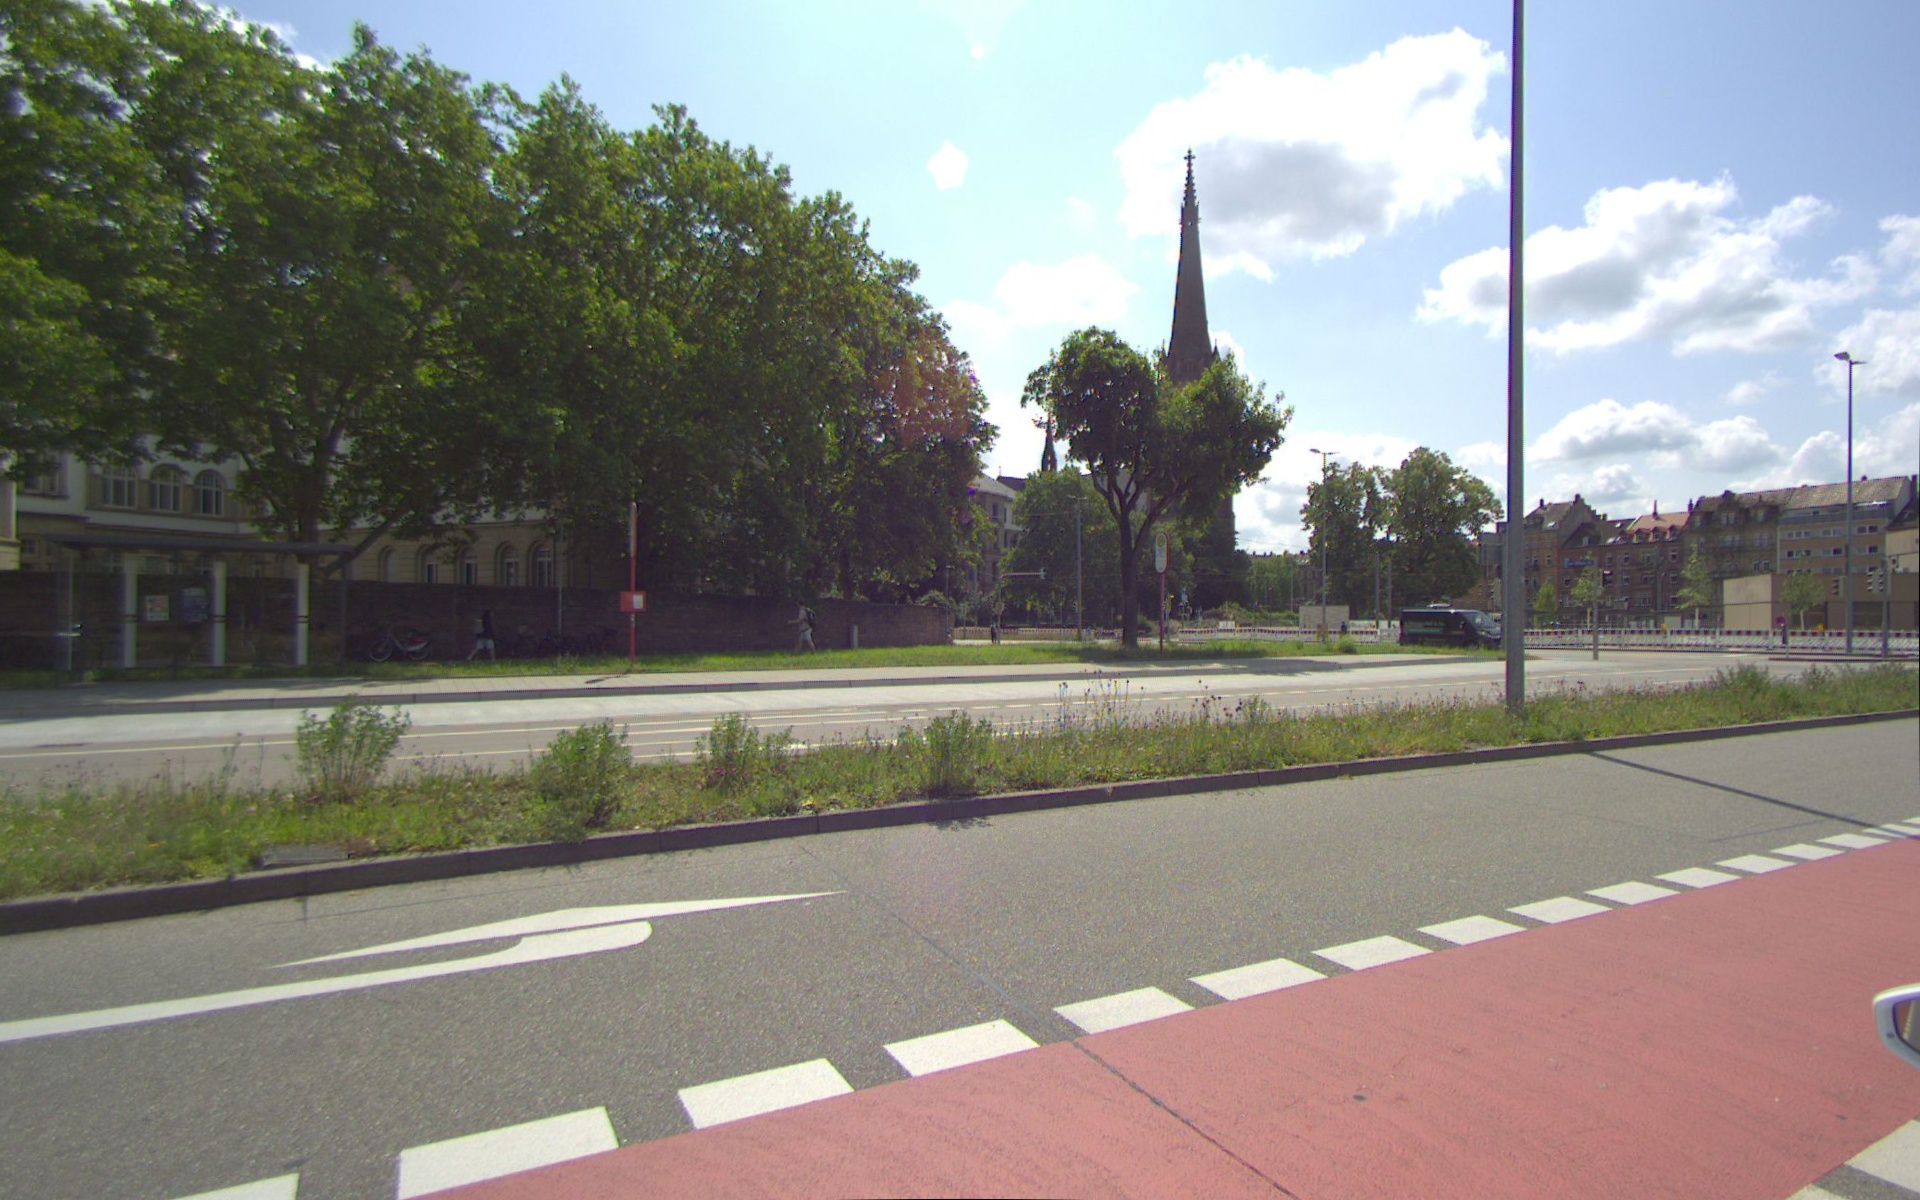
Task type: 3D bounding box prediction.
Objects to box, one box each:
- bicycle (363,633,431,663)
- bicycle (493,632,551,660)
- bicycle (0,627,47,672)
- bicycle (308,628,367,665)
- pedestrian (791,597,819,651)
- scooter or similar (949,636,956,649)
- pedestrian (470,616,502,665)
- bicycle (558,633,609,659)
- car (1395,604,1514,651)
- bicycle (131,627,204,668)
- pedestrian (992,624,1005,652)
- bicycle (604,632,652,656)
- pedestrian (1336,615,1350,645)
[{"bbox_3d":[-16.243,1.381,29.012,0.324,0.828,1.743,0,-1,36],"label":"bicycle"},{"bbox_3d":[-14.023,1.464,32.198,0.378,0.828,1.743,0,-1,36],"label":"bicycle"},{"bbox_3d":[-21.260,1.102,22.324,0.260,0.977,1.391,0,-1,36],"label":"bicycle"},{"bbox_3d":[-17.162,1.267,27.715,0.260,0.977,1.391,0,-1,36],"label":"bicycle"},{"bbox_3d":[-4.372,0.676,28.325,0.627,1.492,0.506,1,-1,-32],"label":"pedestrian"},{"bbox_3d":[-0.440,2.479,58.982,0.117,0.721,1.005,0,-1,17],"label":"scooter or similar"},{"bbox_3d":[-13.768,1.164,29.183,0.720,1.413,0.714,1,-1,-35],"label":"pedestrian"},{"bbox_3d":[-12.783,1.553,34.154,0.324,0.828,1.743,0,-1,36],"label":"bicycle"},{"bbox_3d":[24.438,1.349,49.827,2.132,2.204,4.973,1,-1,-33],"label":"car"},{"bbox_3d":[-19.420,1.159,24.645,0.260,0.977,1.391,0,-1,36],"label":"bicycle"},{"bbox_3d":[2.864,2.801,74.720,0.713,2.040,0.721,1,-1,-32],"label":"pedestrian"},{"bbox_3d":[-11.778,1.552,35.681,0.324,0.828,1.743,0,-1,36],"label":"bicycle"},{"bbox_3d":[26.454,2.051,69.327,0.625,2.040,0.643,1,-1,-32],"label":"pedestrian"}]
